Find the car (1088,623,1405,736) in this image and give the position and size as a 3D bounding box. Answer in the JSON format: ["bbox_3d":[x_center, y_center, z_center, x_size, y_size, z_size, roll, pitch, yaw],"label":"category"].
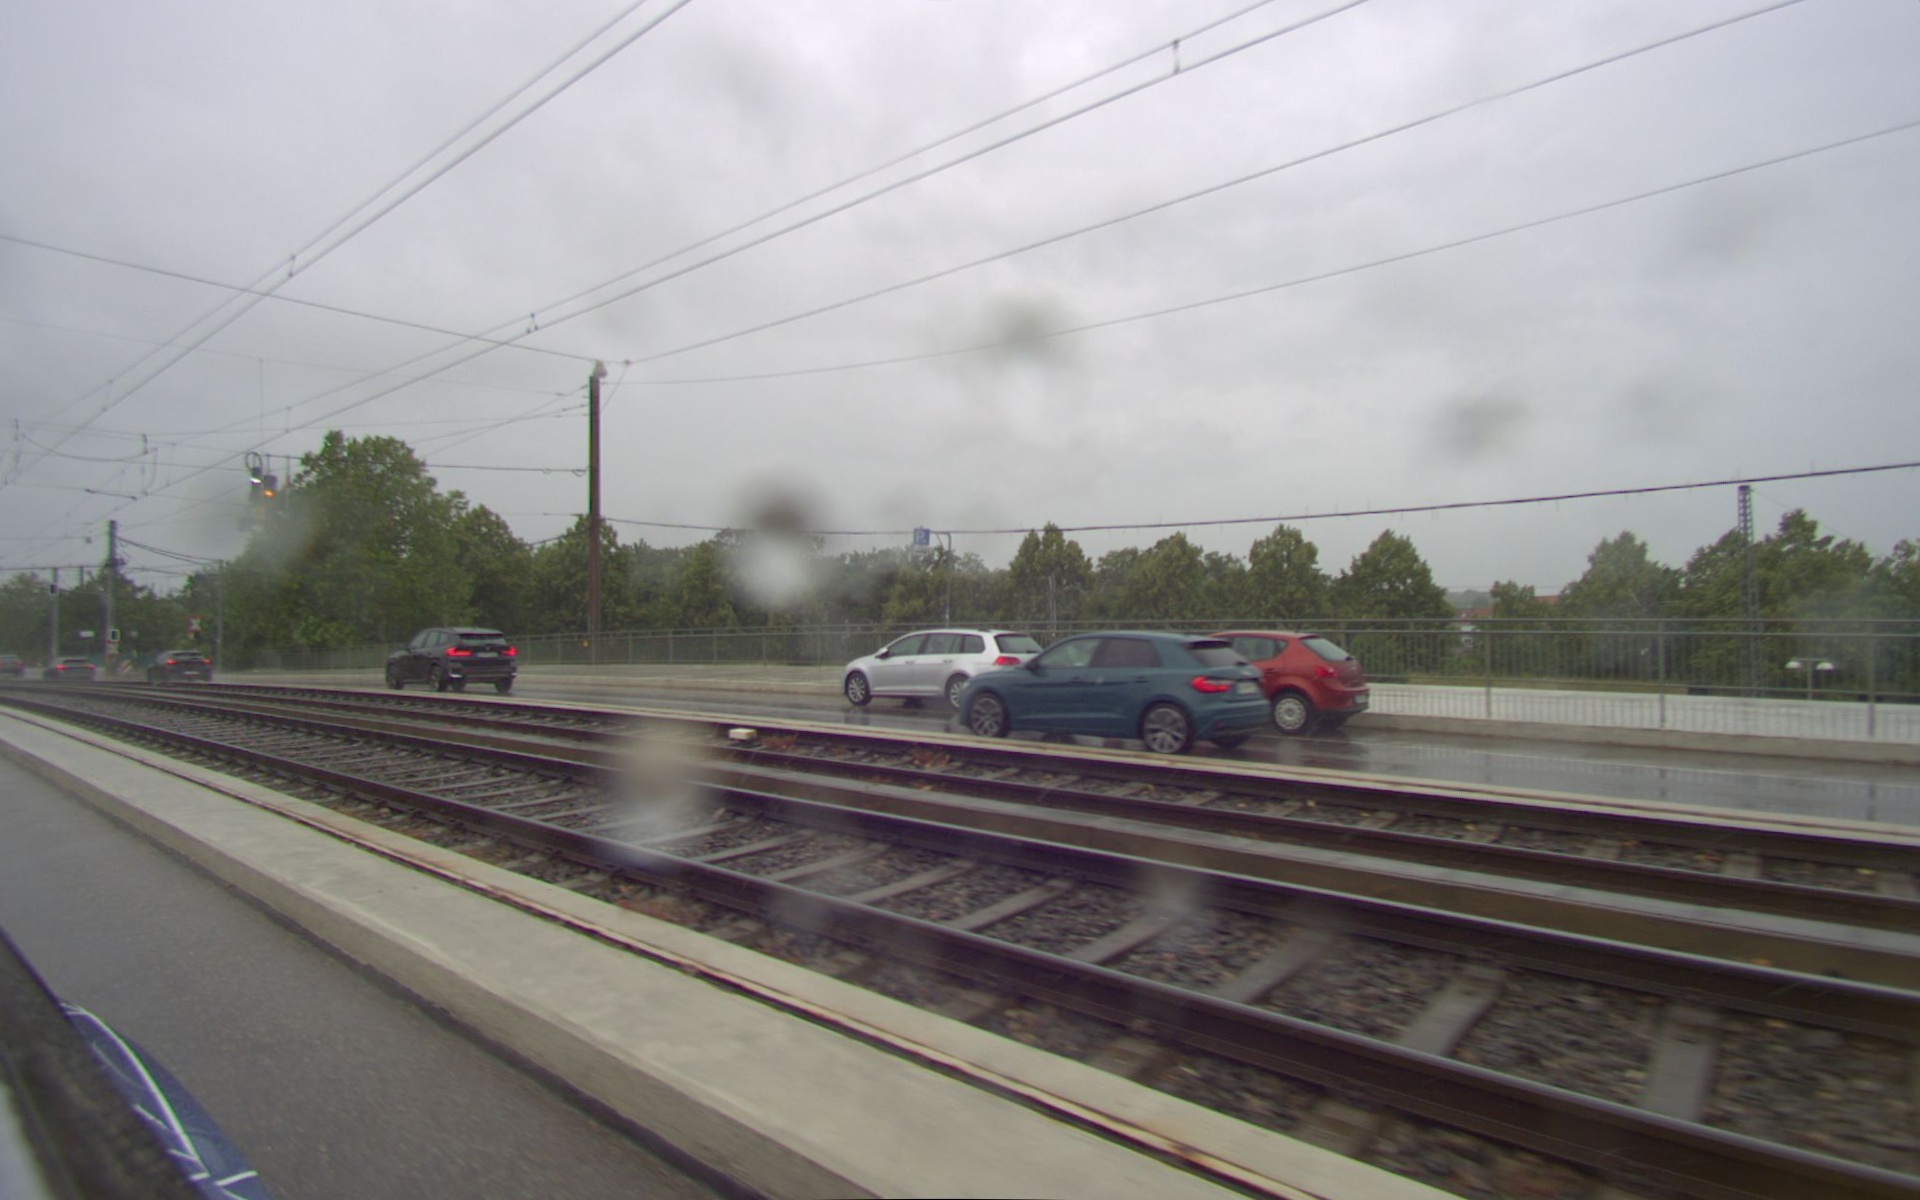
[{"bbox_3d":[4.179,1.114,15.209,4.318,1.467,1.604,-2,-4,40],"label":"car"}]

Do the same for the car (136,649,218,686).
[{"bbox_3d":[-34.124,2.902,44.085,4.088,1.521,1.973,-2,-4,40],"label":"car"}]

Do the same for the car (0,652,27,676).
[{"bbox_3d":[-72.575,4.833,76.808,4.938,1.730,1.973,-2,-4,41],"label":"car"}]

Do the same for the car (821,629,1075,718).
[{"bbox_3d":[-0.313,1.318,19.071,4.616,1.467,1.973,-2,-4,40],"label":"car"}]

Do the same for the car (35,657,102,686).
[{"bbox_3d":[-51.350,4.106,58.286,5.107,1.521,1.974,-2,-3,38],"label":"car"}]

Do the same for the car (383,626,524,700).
[{"bbox_3d":[-12.835,1.524,25.563,3.998,1.667,1.799,-2,0,41],"label":"car"}]

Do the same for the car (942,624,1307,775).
[{"bbox_3d":[1.896,1.081,12.411,4.081,1.493,1.781,-2,0,41],"label":"car"}]

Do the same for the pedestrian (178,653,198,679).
[{"bbox_3d":[-55.205,4.704,72.384,1.041,1.832,0.856,-2,0,39],"label":"pedestrian"}]
